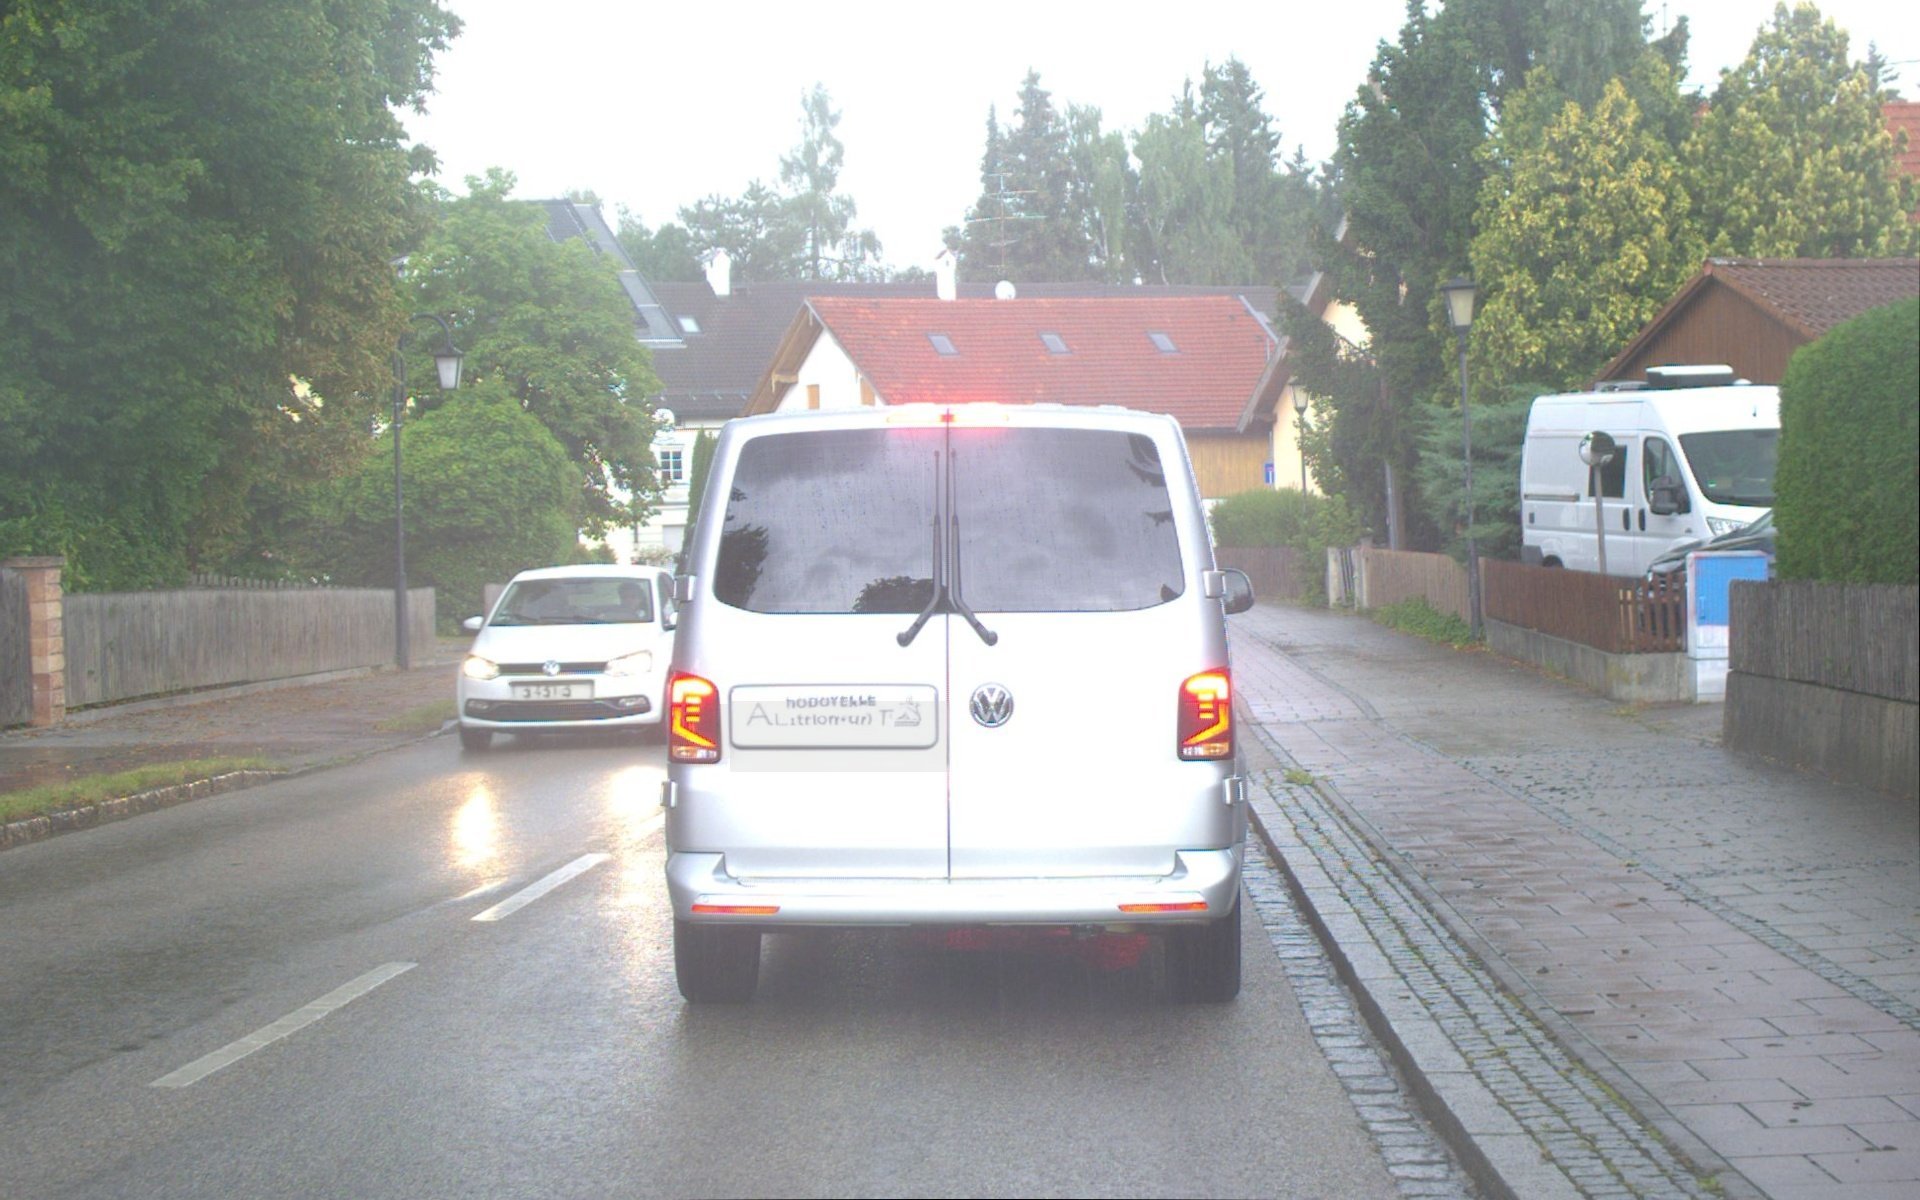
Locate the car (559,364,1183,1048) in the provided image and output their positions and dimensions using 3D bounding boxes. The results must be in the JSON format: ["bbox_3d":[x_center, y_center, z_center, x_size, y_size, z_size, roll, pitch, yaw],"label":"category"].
[{"bbox_3d":[-0.141,0.304,12.211,1.801,2.007,3.999,1,0,4],"label":"car"}]

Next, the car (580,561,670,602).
[{"bbox_3d":[-11.159,-0.613,114.440,1.780,1.306,3.776,1,0,-25],"label":"car"}]

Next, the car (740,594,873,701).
[{"bbox_3d":[-2.140,0.638,48.842,1.716,1.437,4.000,1,0,0],"label":"car"}]

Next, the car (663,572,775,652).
[{"bbox_3d":[-4.473,0.217,64.304,1.618,1.439,3.670,0,0,4],"label":"car"}]

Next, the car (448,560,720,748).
[{"bbox_3d":[-3.017,0.414,28.239,1.618,1.439,3.670,0,0,4],"label":"car"}]

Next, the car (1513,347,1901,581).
[{"bbox_3d":[7.429,-1.286,34.782,1.993,2.166,4.954,1,0,-11],"label":"car"}]

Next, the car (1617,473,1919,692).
[{"bbox_3d":[7.908,-0.198,29.692,4.093,1.745,1.695,-2,3,-1],"label":"car"}]

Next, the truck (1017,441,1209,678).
[{"bbox_3d":[2.076,-0.533,47.972,2.475,3.063,6.296,1,0,1],"label":"truck"}]

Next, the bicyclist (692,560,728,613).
[{"bbox_3d":[-4.927,-0.269,67.813,0.587,1.018,1.060,0,1,1],"label":"bicyclist"}]

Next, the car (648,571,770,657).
[{"bbox_3d":[-4.325,0.235,59.662,1.618,1.439,3.670,0,0,4],"label":"car"}]
